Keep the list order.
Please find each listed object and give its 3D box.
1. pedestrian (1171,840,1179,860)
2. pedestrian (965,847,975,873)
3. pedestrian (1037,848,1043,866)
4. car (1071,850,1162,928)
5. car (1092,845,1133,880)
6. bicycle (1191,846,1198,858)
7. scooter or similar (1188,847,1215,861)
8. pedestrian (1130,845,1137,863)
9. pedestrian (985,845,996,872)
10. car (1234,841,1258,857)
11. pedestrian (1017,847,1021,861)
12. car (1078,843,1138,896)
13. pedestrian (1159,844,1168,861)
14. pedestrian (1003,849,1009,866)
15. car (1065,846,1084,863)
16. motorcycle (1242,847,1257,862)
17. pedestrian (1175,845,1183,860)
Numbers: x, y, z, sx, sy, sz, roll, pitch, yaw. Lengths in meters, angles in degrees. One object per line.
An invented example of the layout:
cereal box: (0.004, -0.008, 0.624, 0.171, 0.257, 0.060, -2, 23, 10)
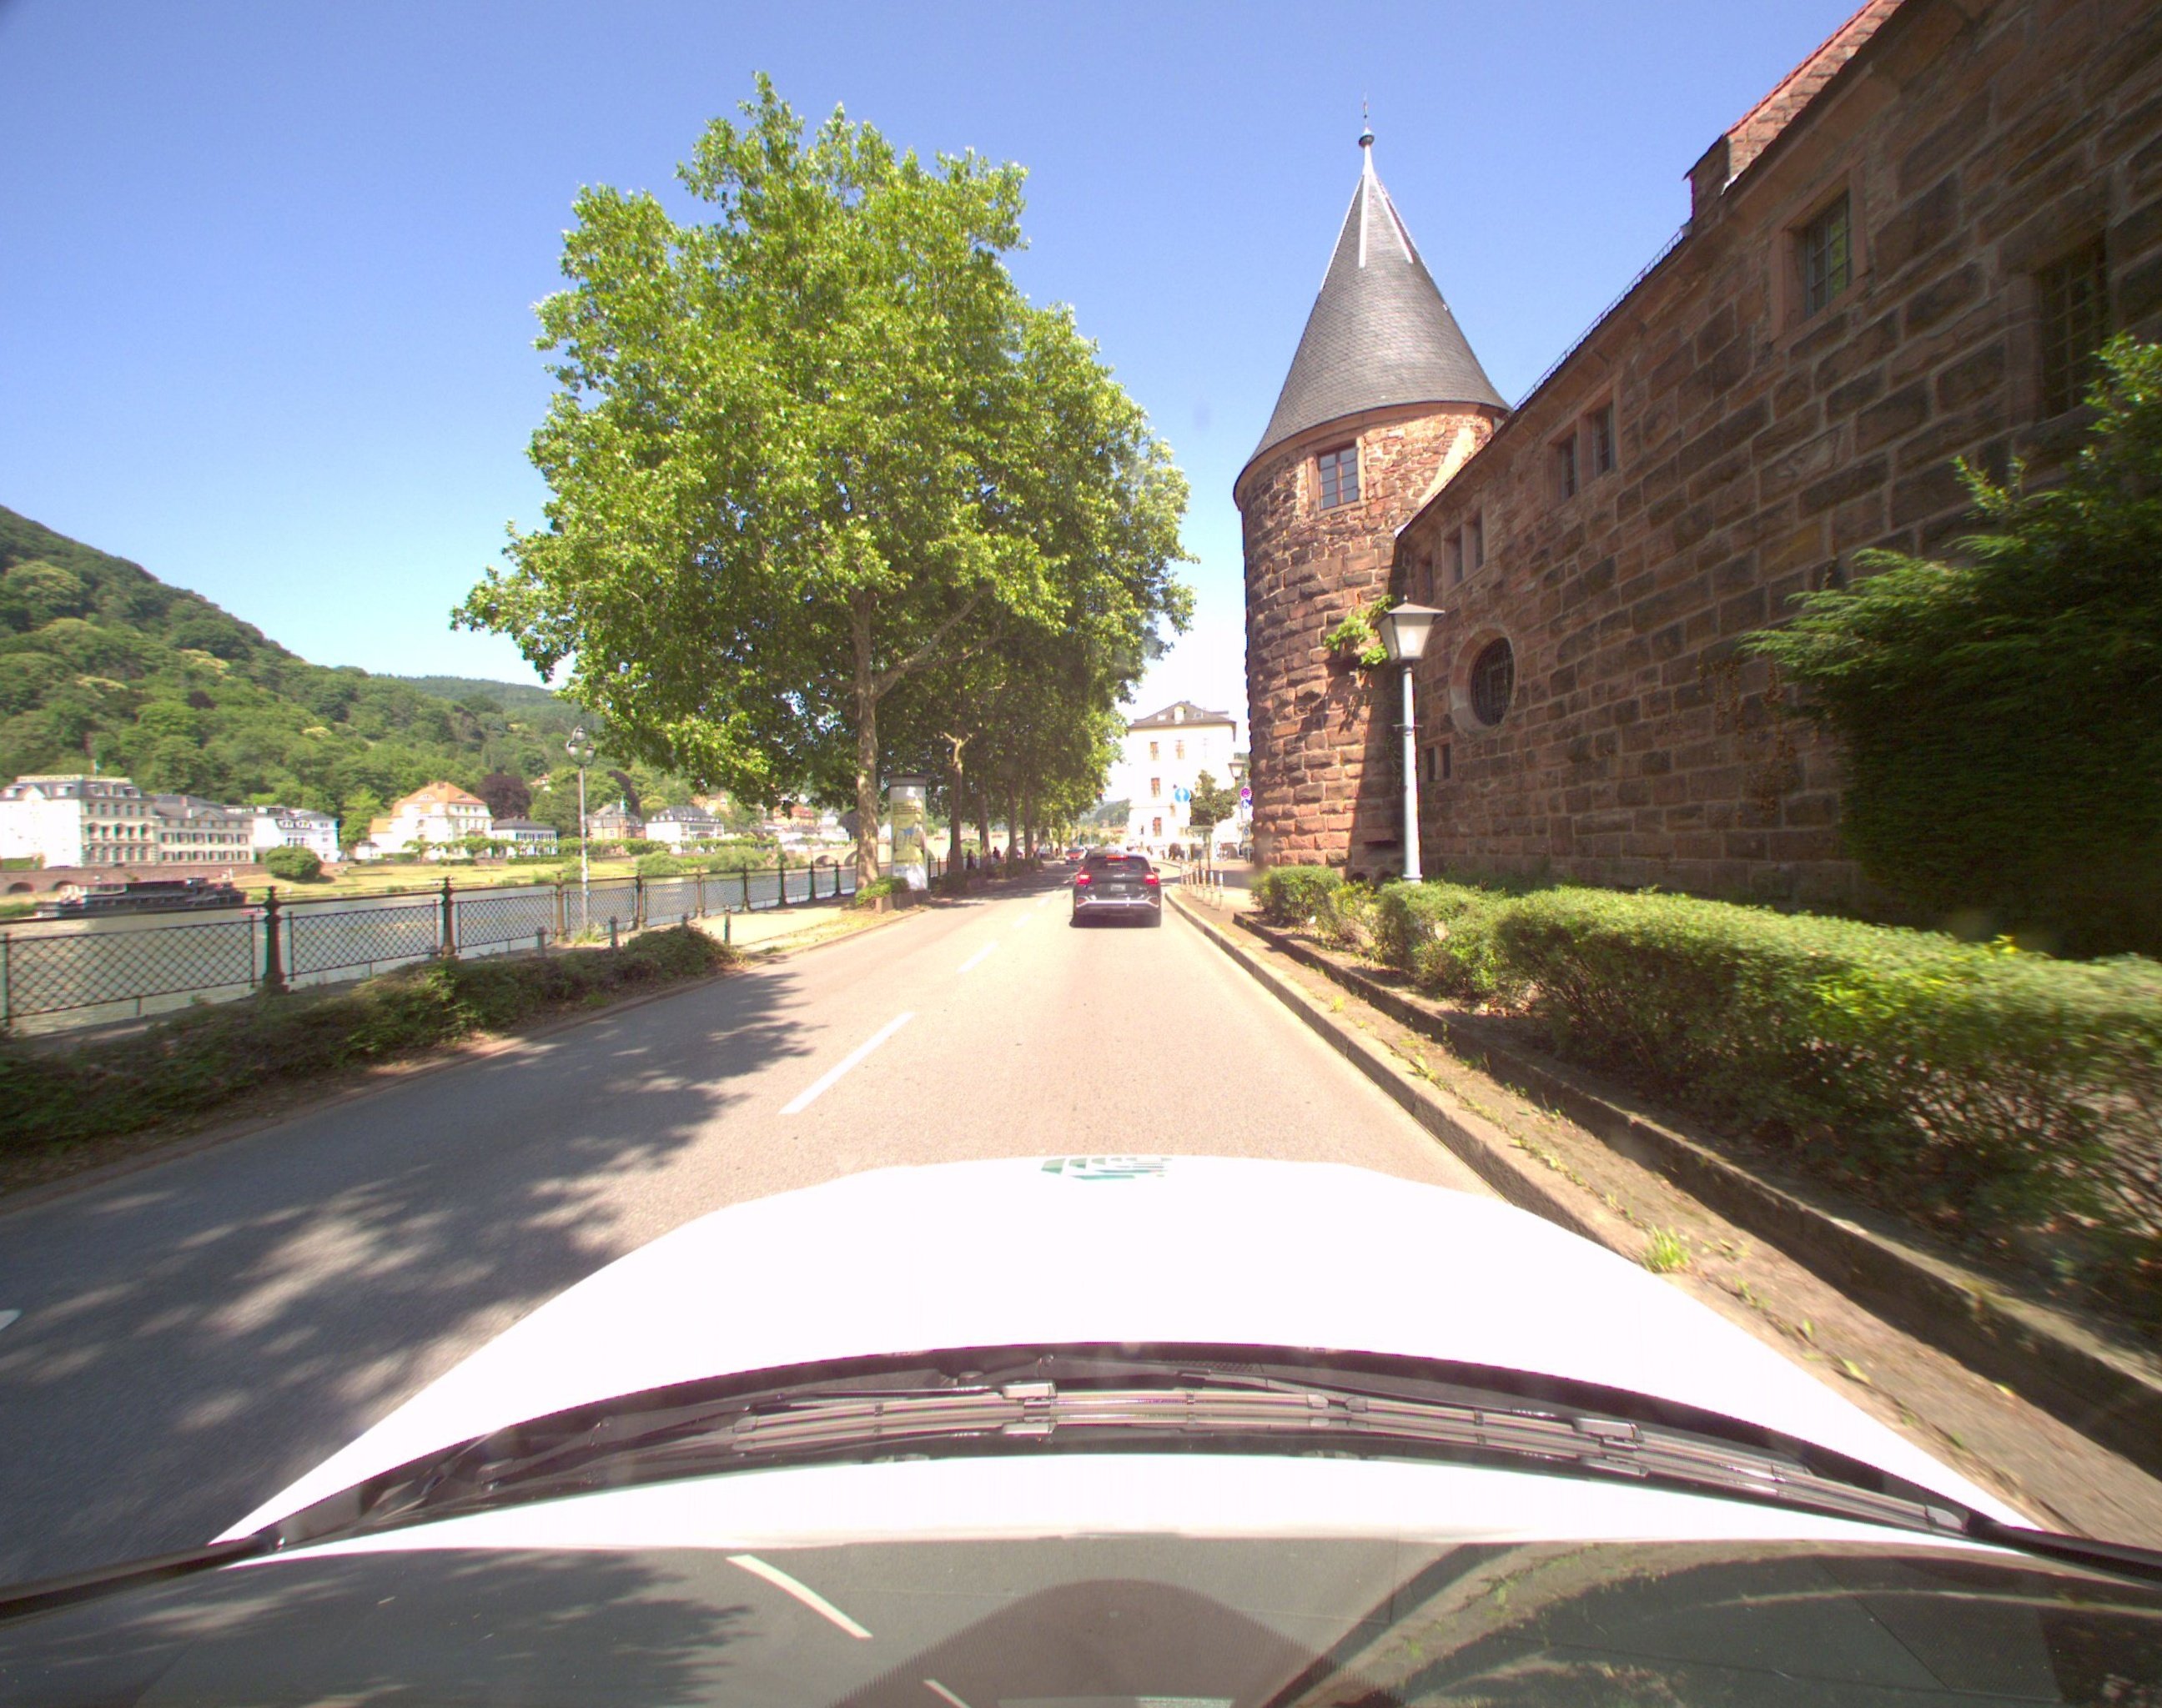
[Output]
pedestrian: (7.442, -0.315, 64.308, 0.555, 1.633, 0.660, 0, 0, 3)
pedestrian: (-7.492, 0.393, 54.989, 0.643, 1.717, 0.665, 0, 0, -1)
pedestrian: (-3.698, 0.255, 73.799, 0.516, 1.637, 0.438, -2, 0, -5)
car: (0.717, 0.666, 17.469, 1.742, 1.494, 3.630, 0, 0, 1)
car: (1.498, 0.372, 38.568, 1.794, 1.523, 3.718, -2, 0, 2)
bicycle: (9.233, -0.189, 66.282, 0.449, 0.974, 1.400, 0, 0, 2)
scooter or similar: (8.431, -0.005, 56.837, 1.838, 0.963, 0.429, 0, 0, 1)
pedestrian: (4.576, 0.012, 71.303, 0.555, 1.557, 0.660, 0, 0, 3)
pedestrian: (-6.068, 0.294, 54.610, 0.562, 1.741, 0.665, -2, 0, -1)
car: (17.972, -0.528, 88.818, 1.986, 1.716, 4.003, 0, 0, 2)
pedestrian: (-6.628, -0.015, 86.601, 0.408, 1.425, 0.457, 0, 0, -2)
car: (0.911, 0.445, 26.736, 1.794, 1.562, 3.718, -2, 0, 2)
pedestrian: (7.478, -0.138, 74.086, 0.744, 1.557, 0.589, 0, 0, 3)
pedestrian: (-7.155, 0.342, 77.924, 0.496, 1.537, 0.678, -2, 0, -5)
car: (-0.602, 0.015, 79.673, 1.607, 1.523, 3.480, -2, 0, 4)
motorcycle: (9.714, 0.027, 46.949, 0.481, 0.818, 2.281, -2, 0, 2)
pedestrian: (7.824, -0.117, 65.079, 0.544, 1.201, 0.523, 0, 0, 3)
